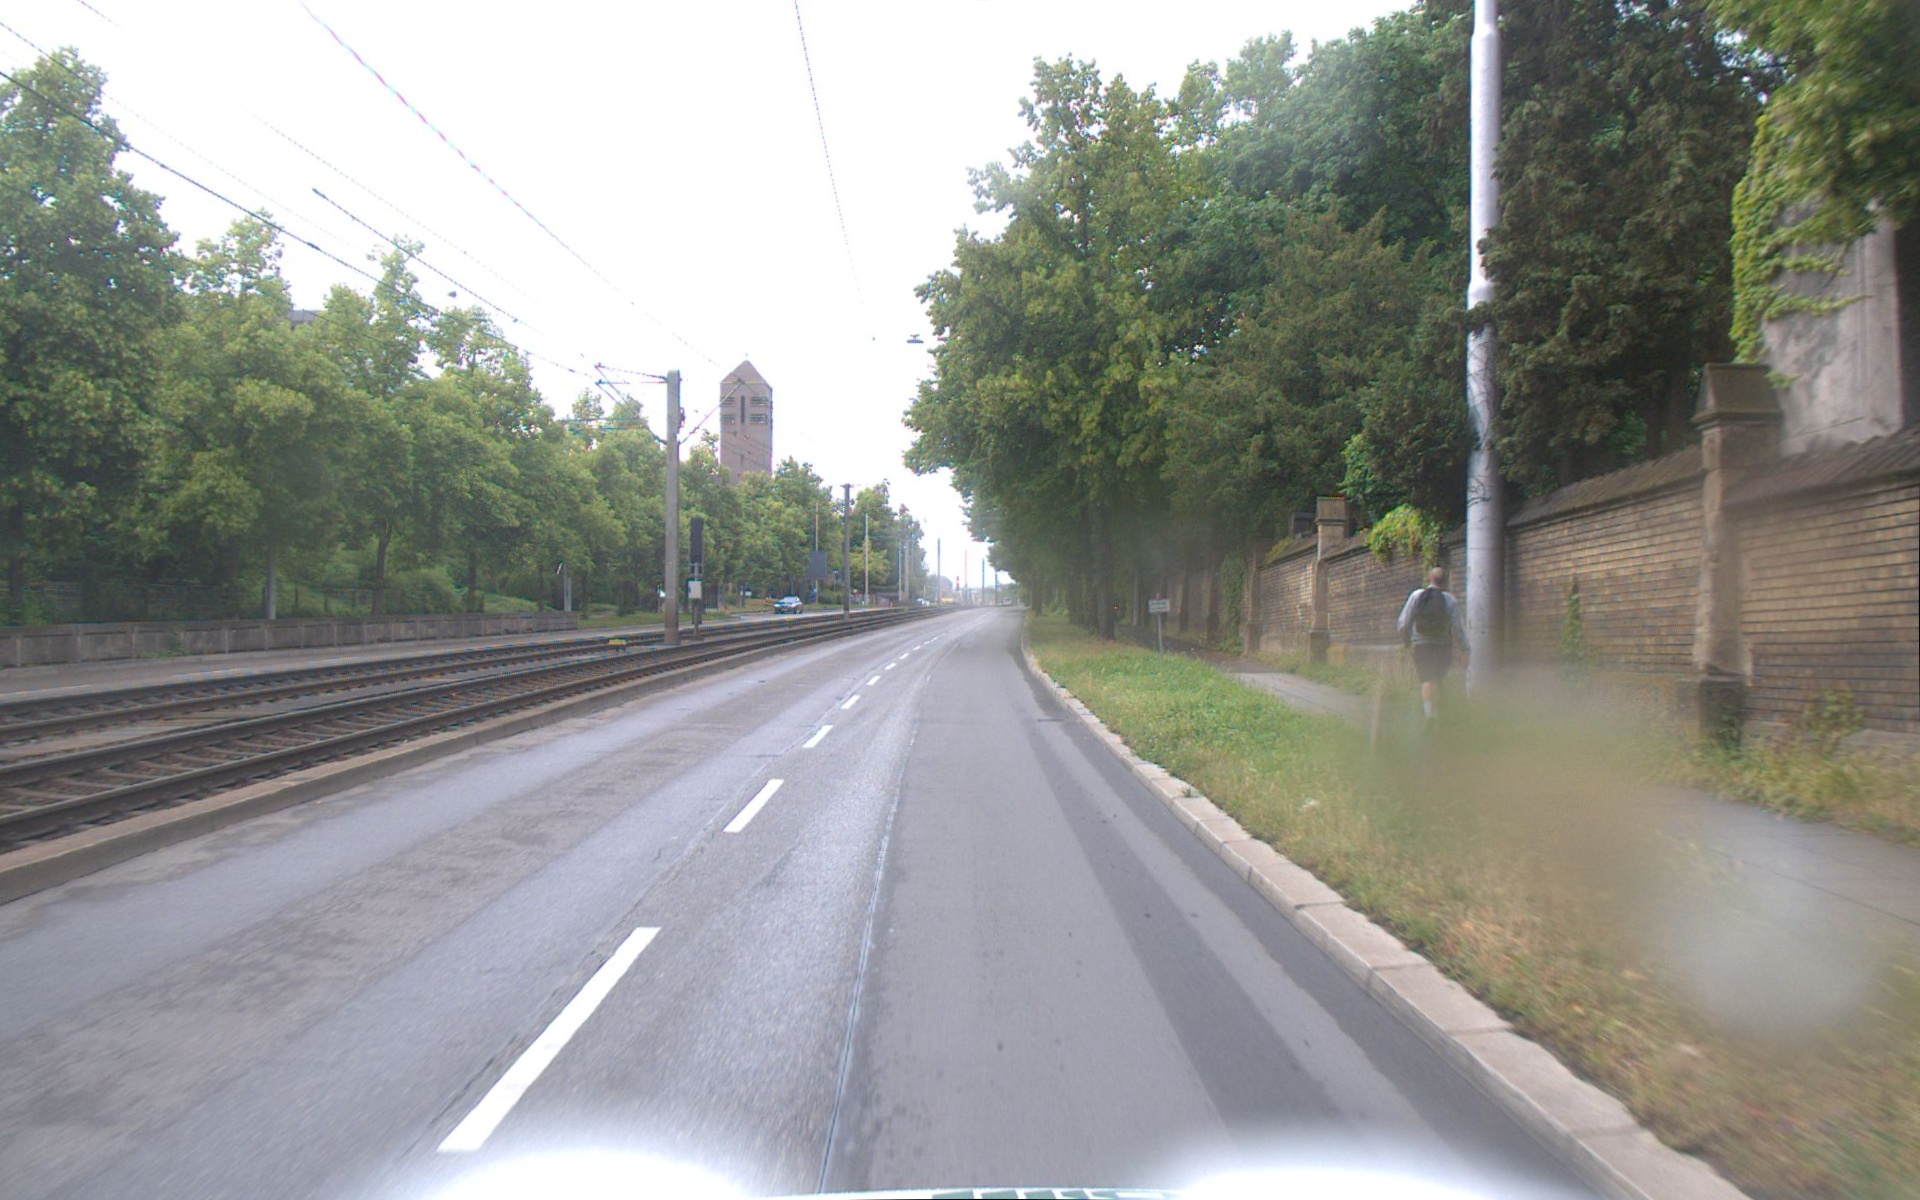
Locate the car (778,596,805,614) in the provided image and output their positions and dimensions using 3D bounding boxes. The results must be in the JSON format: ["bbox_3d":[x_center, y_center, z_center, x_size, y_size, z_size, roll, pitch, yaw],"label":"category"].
[{"bbox_3d":[-14.695,0.434,144.616,1.757,1.557,4.622,0,0,1],"label":"car"}]

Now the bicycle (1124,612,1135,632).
[{"bbox_3d":[8.512,1.114,83.129,0.531,0.964,2.551,0,0,6],"label":"bicycle"}]

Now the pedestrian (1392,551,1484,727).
[{"bbox_3d":[5.058,0.400,17.558,0.694,1.810,0.901,1,0,-1],"label":"pedestrian"}]

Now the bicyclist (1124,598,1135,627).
[{"bbox_3d":[8.540,0.623,83.335,0.523,1.414,0.667,0,-1,5],"label":"bicyclist"}]
